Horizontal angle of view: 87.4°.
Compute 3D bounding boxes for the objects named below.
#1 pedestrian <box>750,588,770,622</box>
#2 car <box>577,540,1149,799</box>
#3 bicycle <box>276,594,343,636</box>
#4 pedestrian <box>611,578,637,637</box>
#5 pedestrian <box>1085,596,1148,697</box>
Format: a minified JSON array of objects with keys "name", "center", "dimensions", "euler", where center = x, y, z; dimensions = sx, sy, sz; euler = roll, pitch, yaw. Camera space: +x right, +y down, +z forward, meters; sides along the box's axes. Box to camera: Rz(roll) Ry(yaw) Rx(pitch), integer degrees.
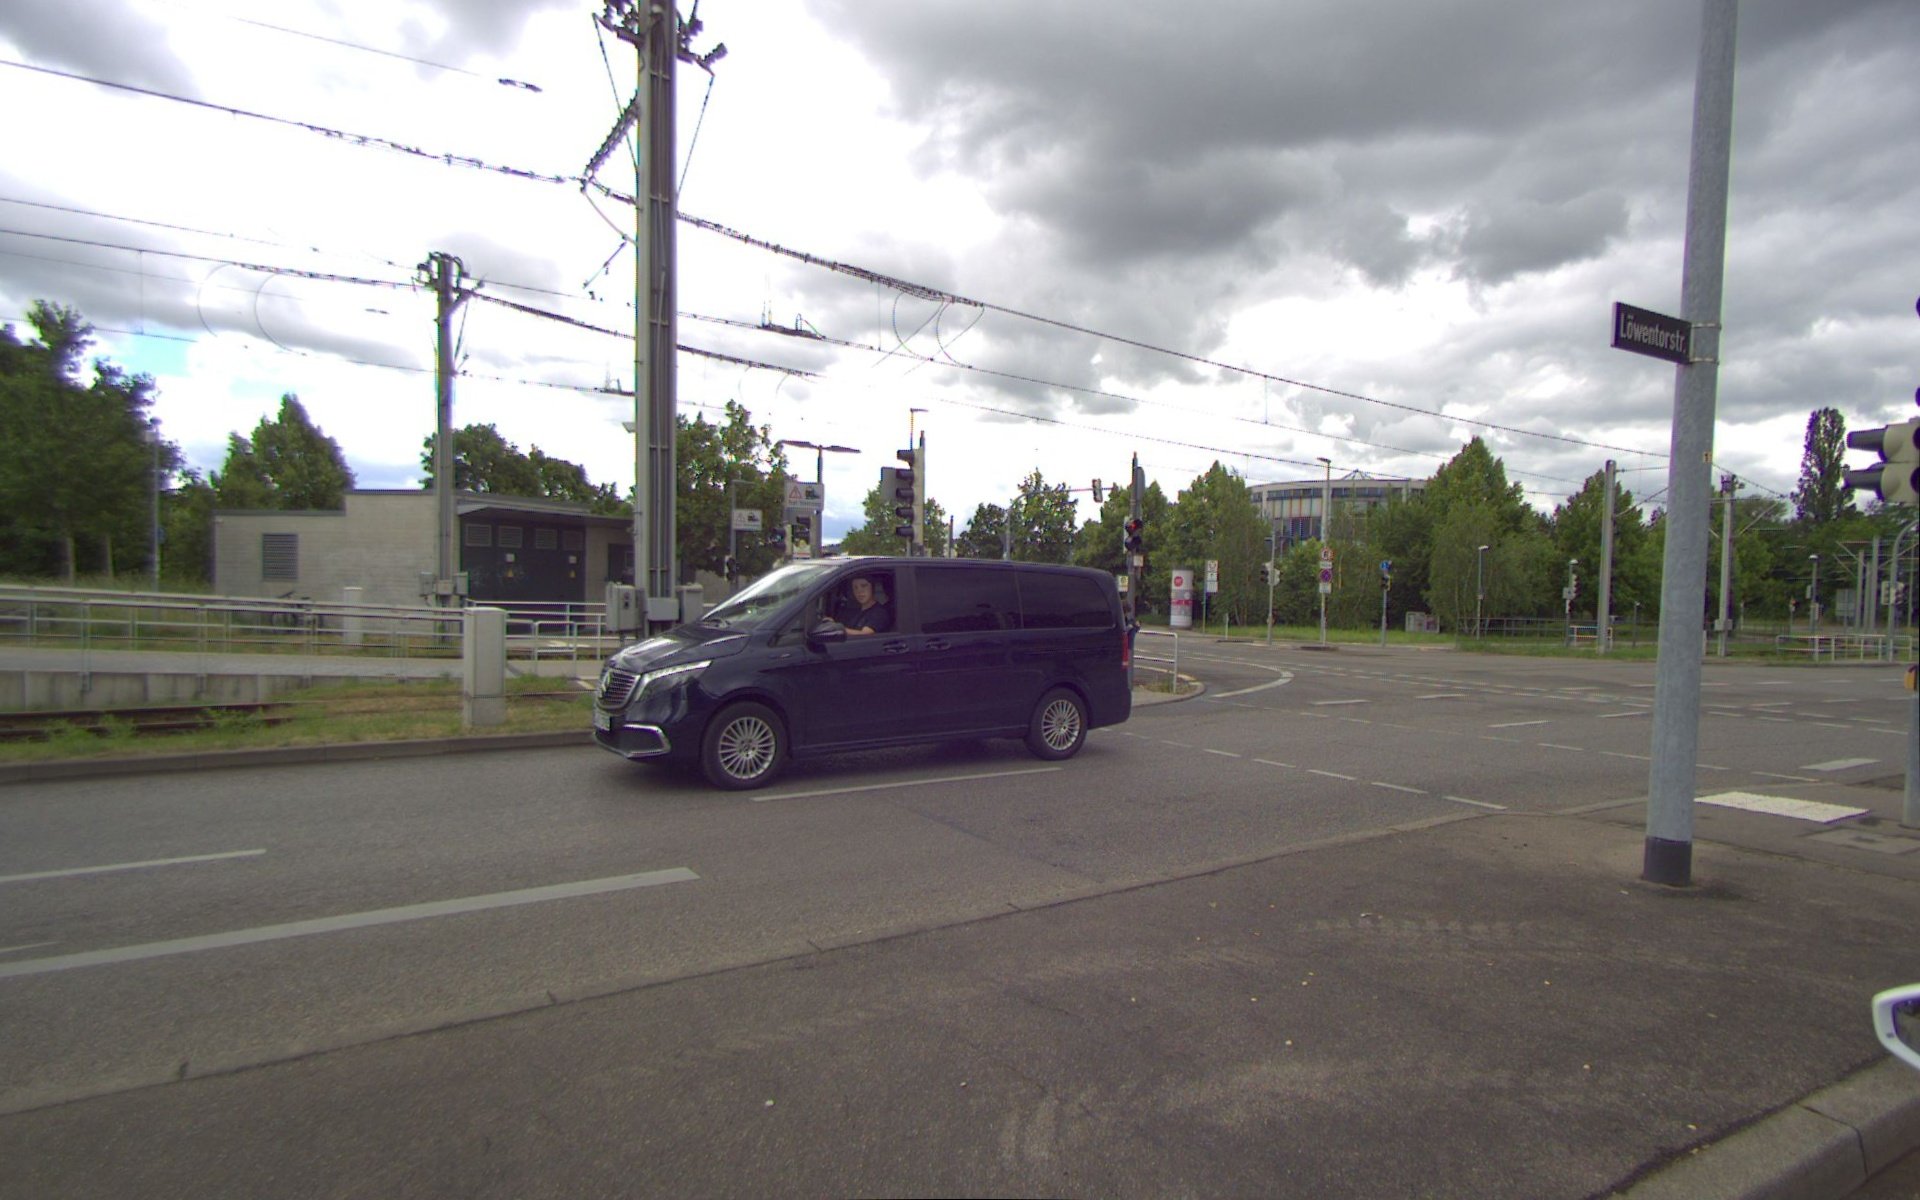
[{"name":"pedestrian","center":[-8.336,0.207,41.919],"dimensions":[0.590,1.377,0.616],"euler":[2,0,15]},{"name":"car","center":[-0.711,0.543,9.352],"dimensions":[5.041,1.836,1.875],"euler":[1,-1,-35]},{"name":"bicycle","center":[-17.341,0.397,26.771],"dimensions":[1.778,1.045,0.536],"euler":[2,0,21]},{"name":"pedestrian","center":[-10.207,0.222,30.488],"dimensions":[0.700,1.751,0.674],"euler":[2,0,-19]},{"name":"pedestrian","center":[2.503,0.732,16.073],"dimensions":[0.712,1.557,0.630],"euler":[2,0,-33]}]
